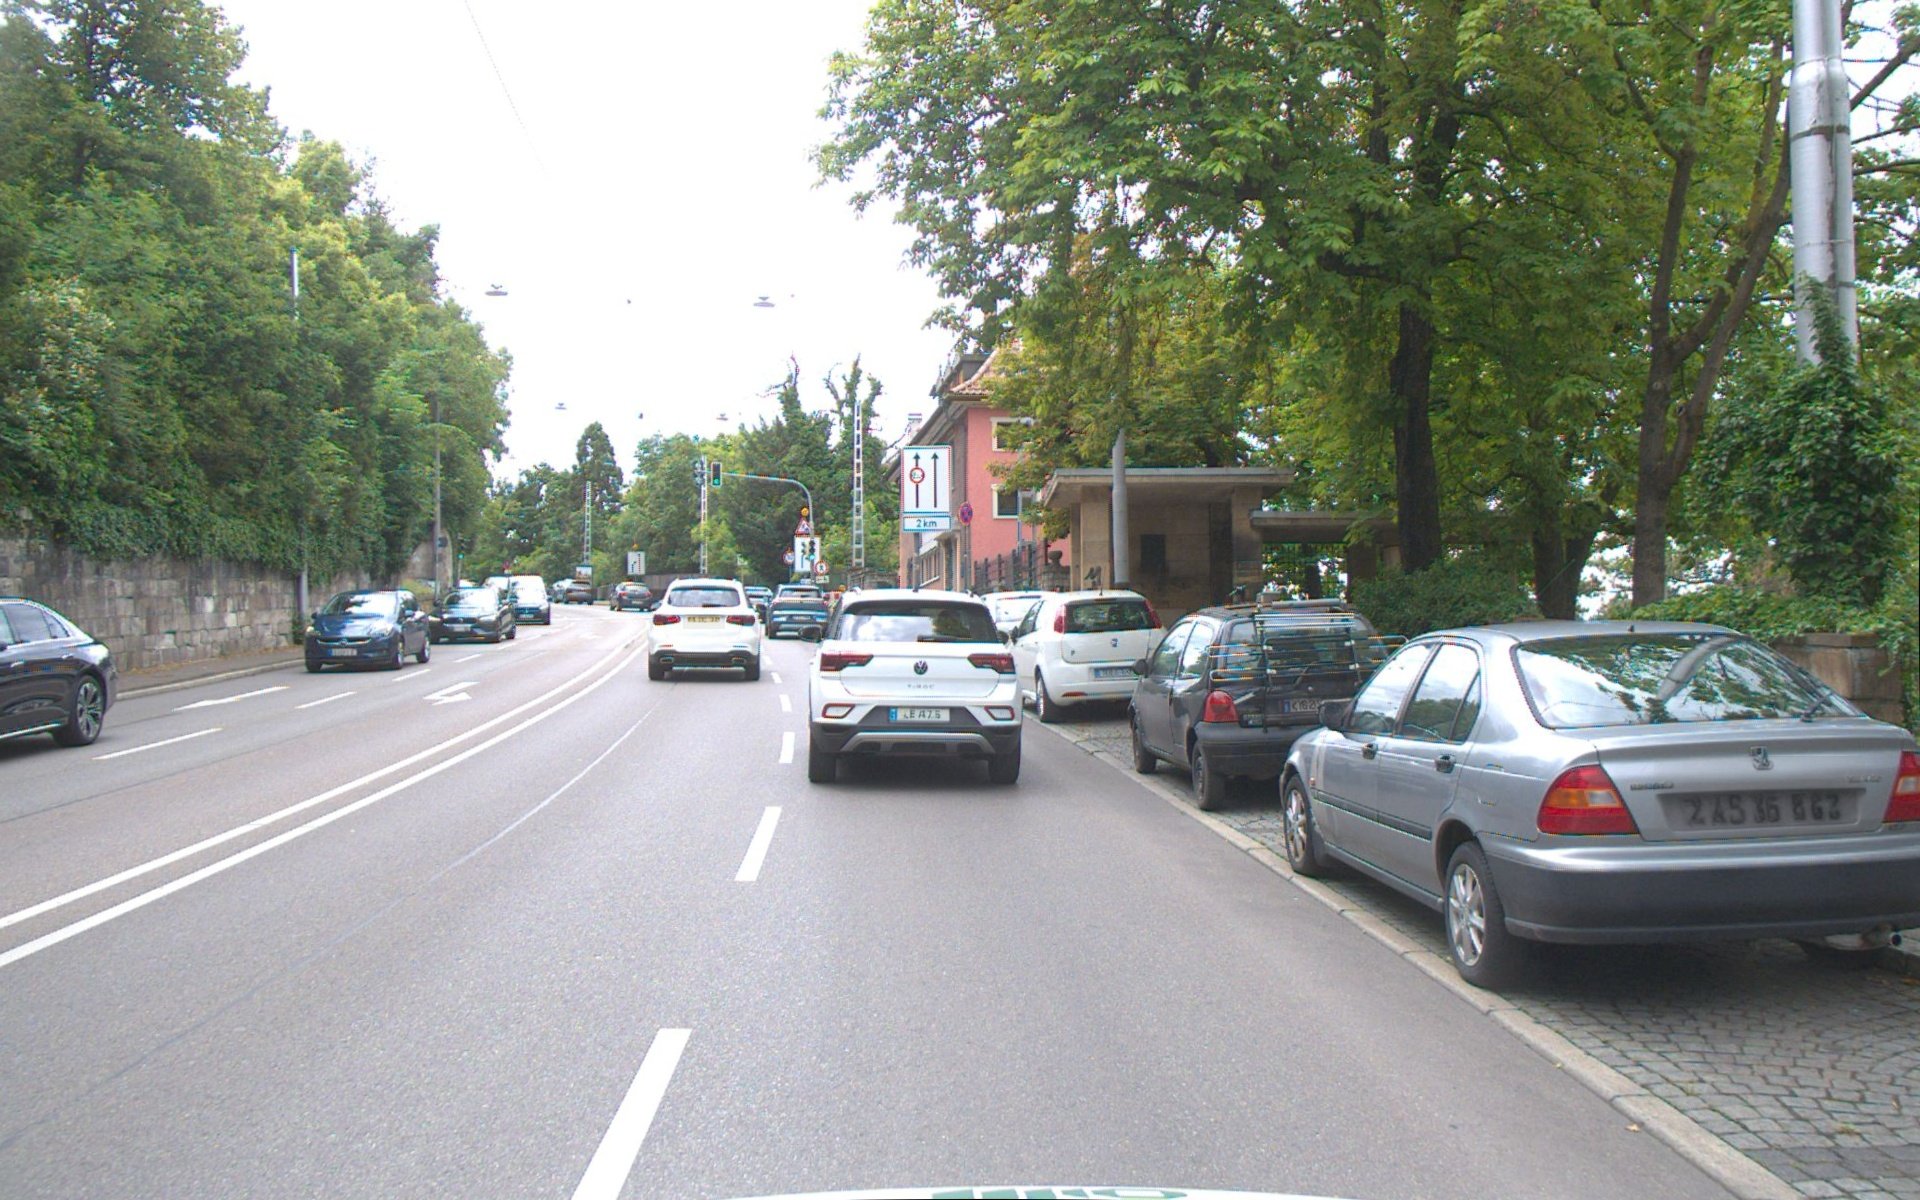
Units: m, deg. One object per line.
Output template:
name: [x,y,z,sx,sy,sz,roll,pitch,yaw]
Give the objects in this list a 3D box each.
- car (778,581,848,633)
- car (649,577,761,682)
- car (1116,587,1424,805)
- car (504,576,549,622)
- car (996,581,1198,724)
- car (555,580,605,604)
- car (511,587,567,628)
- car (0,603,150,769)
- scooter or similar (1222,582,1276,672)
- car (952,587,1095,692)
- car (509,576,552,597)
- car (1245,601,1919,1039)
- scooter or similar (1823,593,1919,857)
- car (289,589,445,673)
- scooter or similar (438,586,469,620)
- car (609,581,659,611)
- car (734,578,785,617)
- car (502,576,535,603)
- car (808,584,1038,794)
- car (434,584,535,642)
car: [-4.263,0.222,48.378,1.954,1.439,4.147,0,0,-4]
car: [-4.302,0.485,28.363,1.724,1.638,3.789,2,-1,-7]
car: [2.348,0.670,13.350,1.531,1.447,3.421,-3,0,-5]
car: [-20.092,-0.015,76.829,1.860,1.881,4.381,1,-3,-13]
car: [1.610,0.572,20.814,1.683,1.497,4.032,-3,1,-7]
car: [-25.948,-0.552,112.765,1.977,1.603,4.100,1,-1,-35]
car: [-15.847,0.262,62.423,1.533,1.426,4.246,-1,0,-8]
car: [-9.288,0.757,14.759,1.962,1.434,4.752,-1,0,-3]
scooter or similar: [4.253,0.383,24.392,0.506,1.282,1.168,-3,1,-3]
car: [0.922,0.562,26.369,1.643,1.486,4.360,-2,1,-6]
car: [-32.482,-1.021,125.098,1.975,1.475,4.103,1,-1,-33]
car: [2.733,0.744,7.872,1.734,1.423,4.548,-1,0,-3]
scooter or similar: [4.962,0.610,7.845,0.550,1.265,1.999,-5,0,-1]
car: [-11.134,0.539,31.337,1.807,1.461,3.996,-1,0,-5]
scooter or similar: [-20.146,0.133,65.761,0.425,1.259,1.095,3,-2,32]
car: [-16.714,-0.206,84.725,1.756,1.480,3.973,1,0,-22]
car: [-8.025,-0.082,66.357,1.955,1.475,4.145,0,0,-6]
car: [-28.784,-0.701,107.850,1.816,1.661,4.348,0,1,-12]
car: [-0.450,0.707,14.667,1.724,1.583,3.791,2,-1,-6]
car: [-12.717,0.318,44.497,1.807,1.434,4.450,-1,0,-6]
